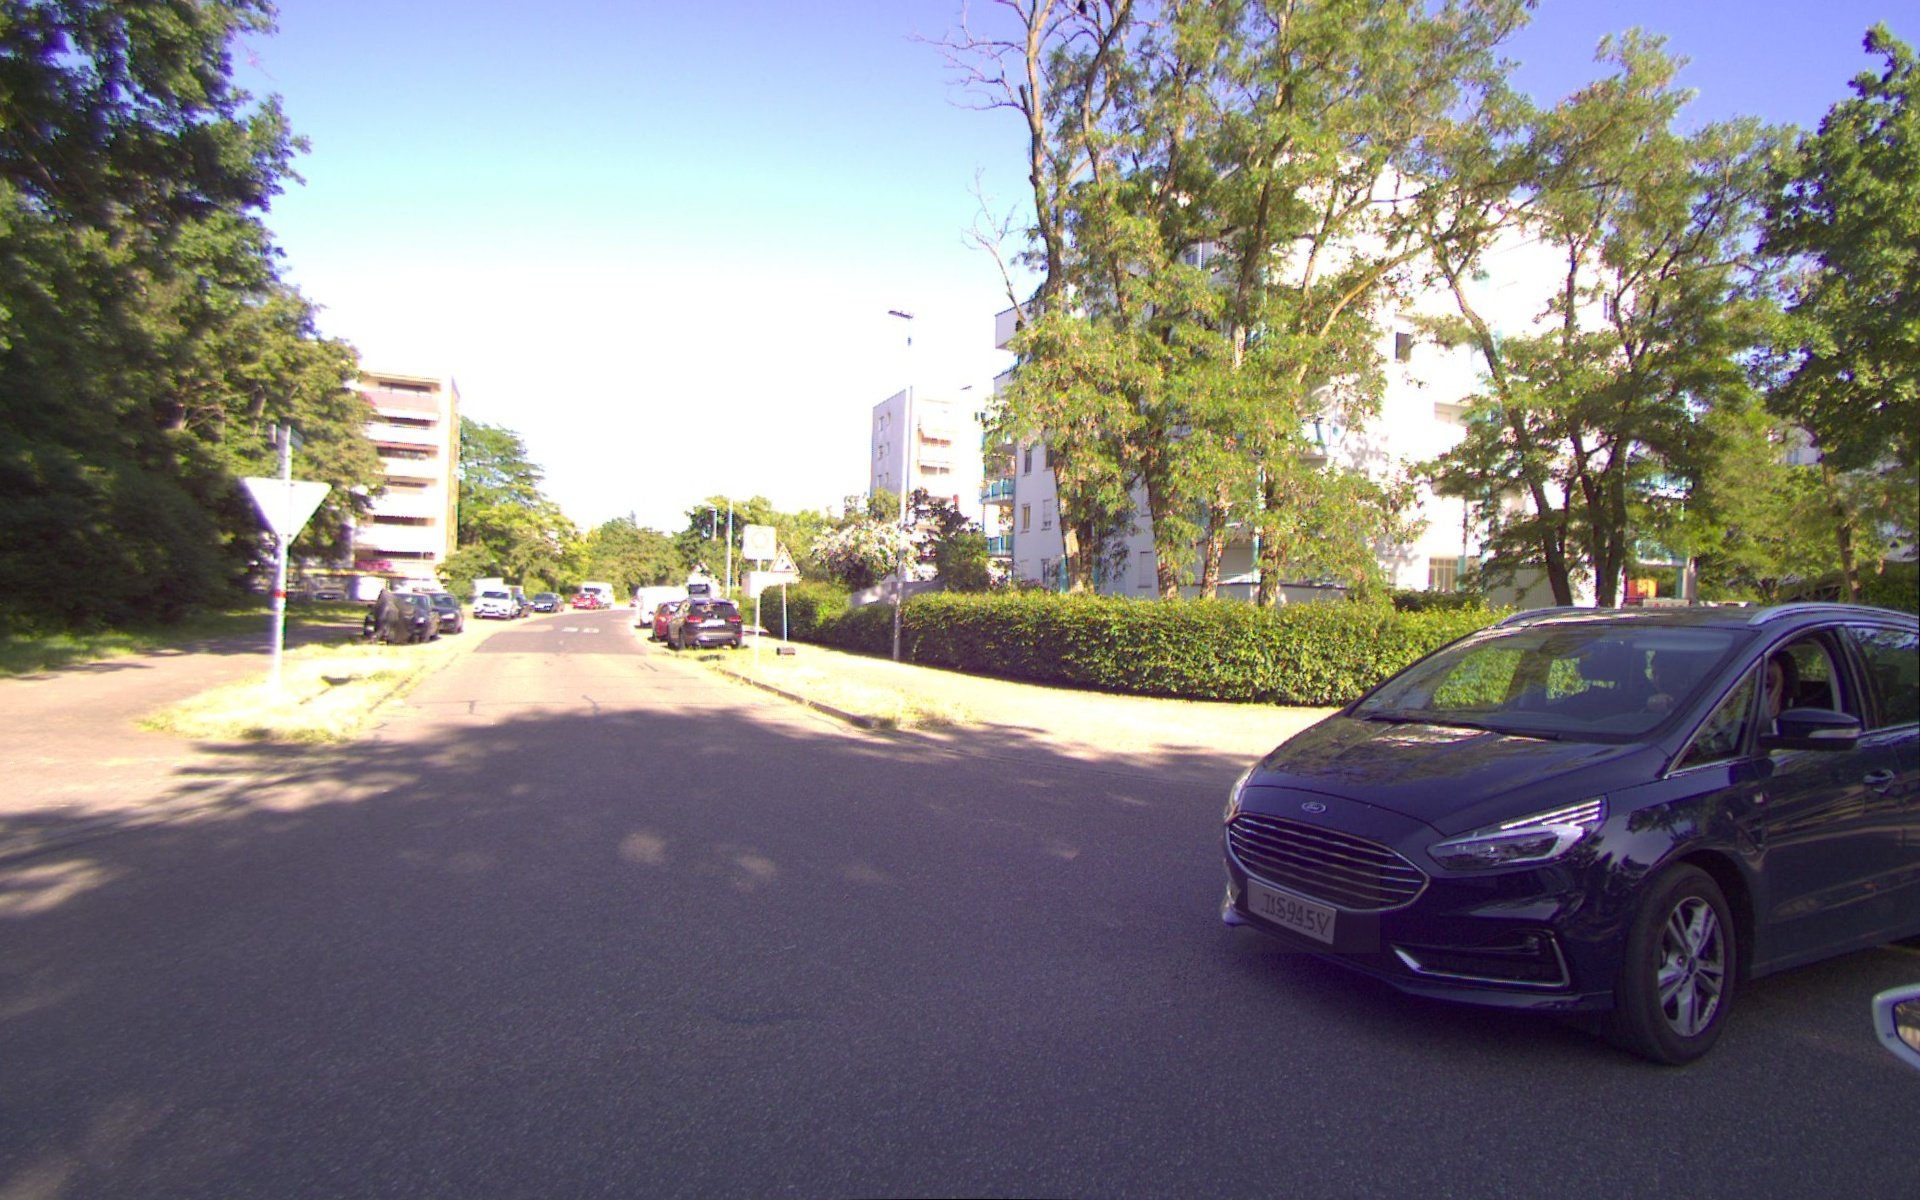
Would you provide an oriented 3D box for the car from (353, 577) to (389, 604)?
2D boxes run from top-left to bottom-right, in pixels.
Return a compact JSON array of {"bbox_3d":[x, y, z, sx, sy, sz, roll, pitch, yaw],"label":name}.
[{"bbox_3d":[-41.651,-0.692,71.144,1.739,1.767,3.813,2,0,-24],"label":"car"}]

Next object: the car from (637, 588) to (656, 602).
[{"bbox_3d":[-39.244,-0.573,125.763,1.860,1.662,3.991,2,0,-12],"label":"car"}]

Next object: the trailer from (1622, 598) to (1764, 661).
[{"bbox_3d":[25.567,1.037,35.041,4.365,2.070,1.972,2,0,-22],"label":"trailer"}]

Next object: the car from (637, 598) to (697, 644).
[{"bbox_3d":[-10.854,0.754,37.046,1.615,1.531,3.813,2,0,-24],"label":"car"}]

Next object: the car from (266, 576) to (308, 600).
[{"bbox_3d":[-46.463,-0.834,69.424,1.775,1.547,3.813,2,0,-24],"label":"car"}]

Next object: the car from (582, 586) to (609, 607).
[{"bbox_3d":[-34.987,-0.303,96.535,1.950,1.925,3.989,2,0,-14],"label":"car"}]

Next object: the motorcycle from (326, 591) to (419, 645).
[{"bbox_3d":[-15.286,0.467,26.180,0.664,1.362,1.955,2,0,34],"label":"motorcycle"}]

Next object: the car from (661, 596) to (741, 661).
[{"bbox_3d":[-7.979,0.817,30.765,1.732,1.808,3.813,2,0,-24],"label":"car"}]

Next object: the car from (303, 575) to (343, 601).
[{"bbox_3d":[-44.496,-0.843,70.231,1.739,1.767,3.813,2,0,-24],"label":"car"}]

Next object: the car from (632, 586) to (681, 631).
[{"bbox_3d":[-15.184,0.391,50.124,1.803,2.088,3.813,2,0,-24],"label":"car"}]

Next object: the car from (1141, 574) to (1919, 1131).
[{"bbox_3d":[3.213,0.830,4.807,4.434,1.646,1.815,2,-2,-27],"label":"car"}]

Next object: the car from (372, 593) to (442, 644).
[{"bbox_3d":[-16.668,0.533,30.398,1.538,1.410,3.567,2,0,-24],"label":"car"}]

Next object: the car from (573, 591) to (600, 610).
[{"bbox_3d":[-33.970,0.063,91.480,1.796,1.617,3.989,2,0,-13],"label":"car"}]

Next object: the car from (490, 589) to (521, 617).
[{"bbox_3d":[-27.028,0.177,59.757,1.623,1.578,3.813,2,0,-24],"label":"car"}]

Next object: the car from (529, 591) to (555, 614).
[{"bbox_3d":[-30.596,0.162,73.545,1.623,1.578,3.813,2,0,-24],"label":"car"}]

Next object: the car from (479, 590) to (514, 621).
[{"bbox_3d":[-25.091,0.294,54.497,1.623,1.578,3.813,2,0,-24],"label":"car"}]

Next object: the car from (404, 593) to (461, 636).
[{"bbox_3d":[-18.894,0.490,36.099,1.538,1.410,3.567,2,0,-24],"label":"car"}]

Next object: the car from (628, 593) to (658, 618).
[{"bbox_3d":[-20.545,0.357,65.050,1.499,1.486,3.056,2,0,-23],"label":"car"}]
